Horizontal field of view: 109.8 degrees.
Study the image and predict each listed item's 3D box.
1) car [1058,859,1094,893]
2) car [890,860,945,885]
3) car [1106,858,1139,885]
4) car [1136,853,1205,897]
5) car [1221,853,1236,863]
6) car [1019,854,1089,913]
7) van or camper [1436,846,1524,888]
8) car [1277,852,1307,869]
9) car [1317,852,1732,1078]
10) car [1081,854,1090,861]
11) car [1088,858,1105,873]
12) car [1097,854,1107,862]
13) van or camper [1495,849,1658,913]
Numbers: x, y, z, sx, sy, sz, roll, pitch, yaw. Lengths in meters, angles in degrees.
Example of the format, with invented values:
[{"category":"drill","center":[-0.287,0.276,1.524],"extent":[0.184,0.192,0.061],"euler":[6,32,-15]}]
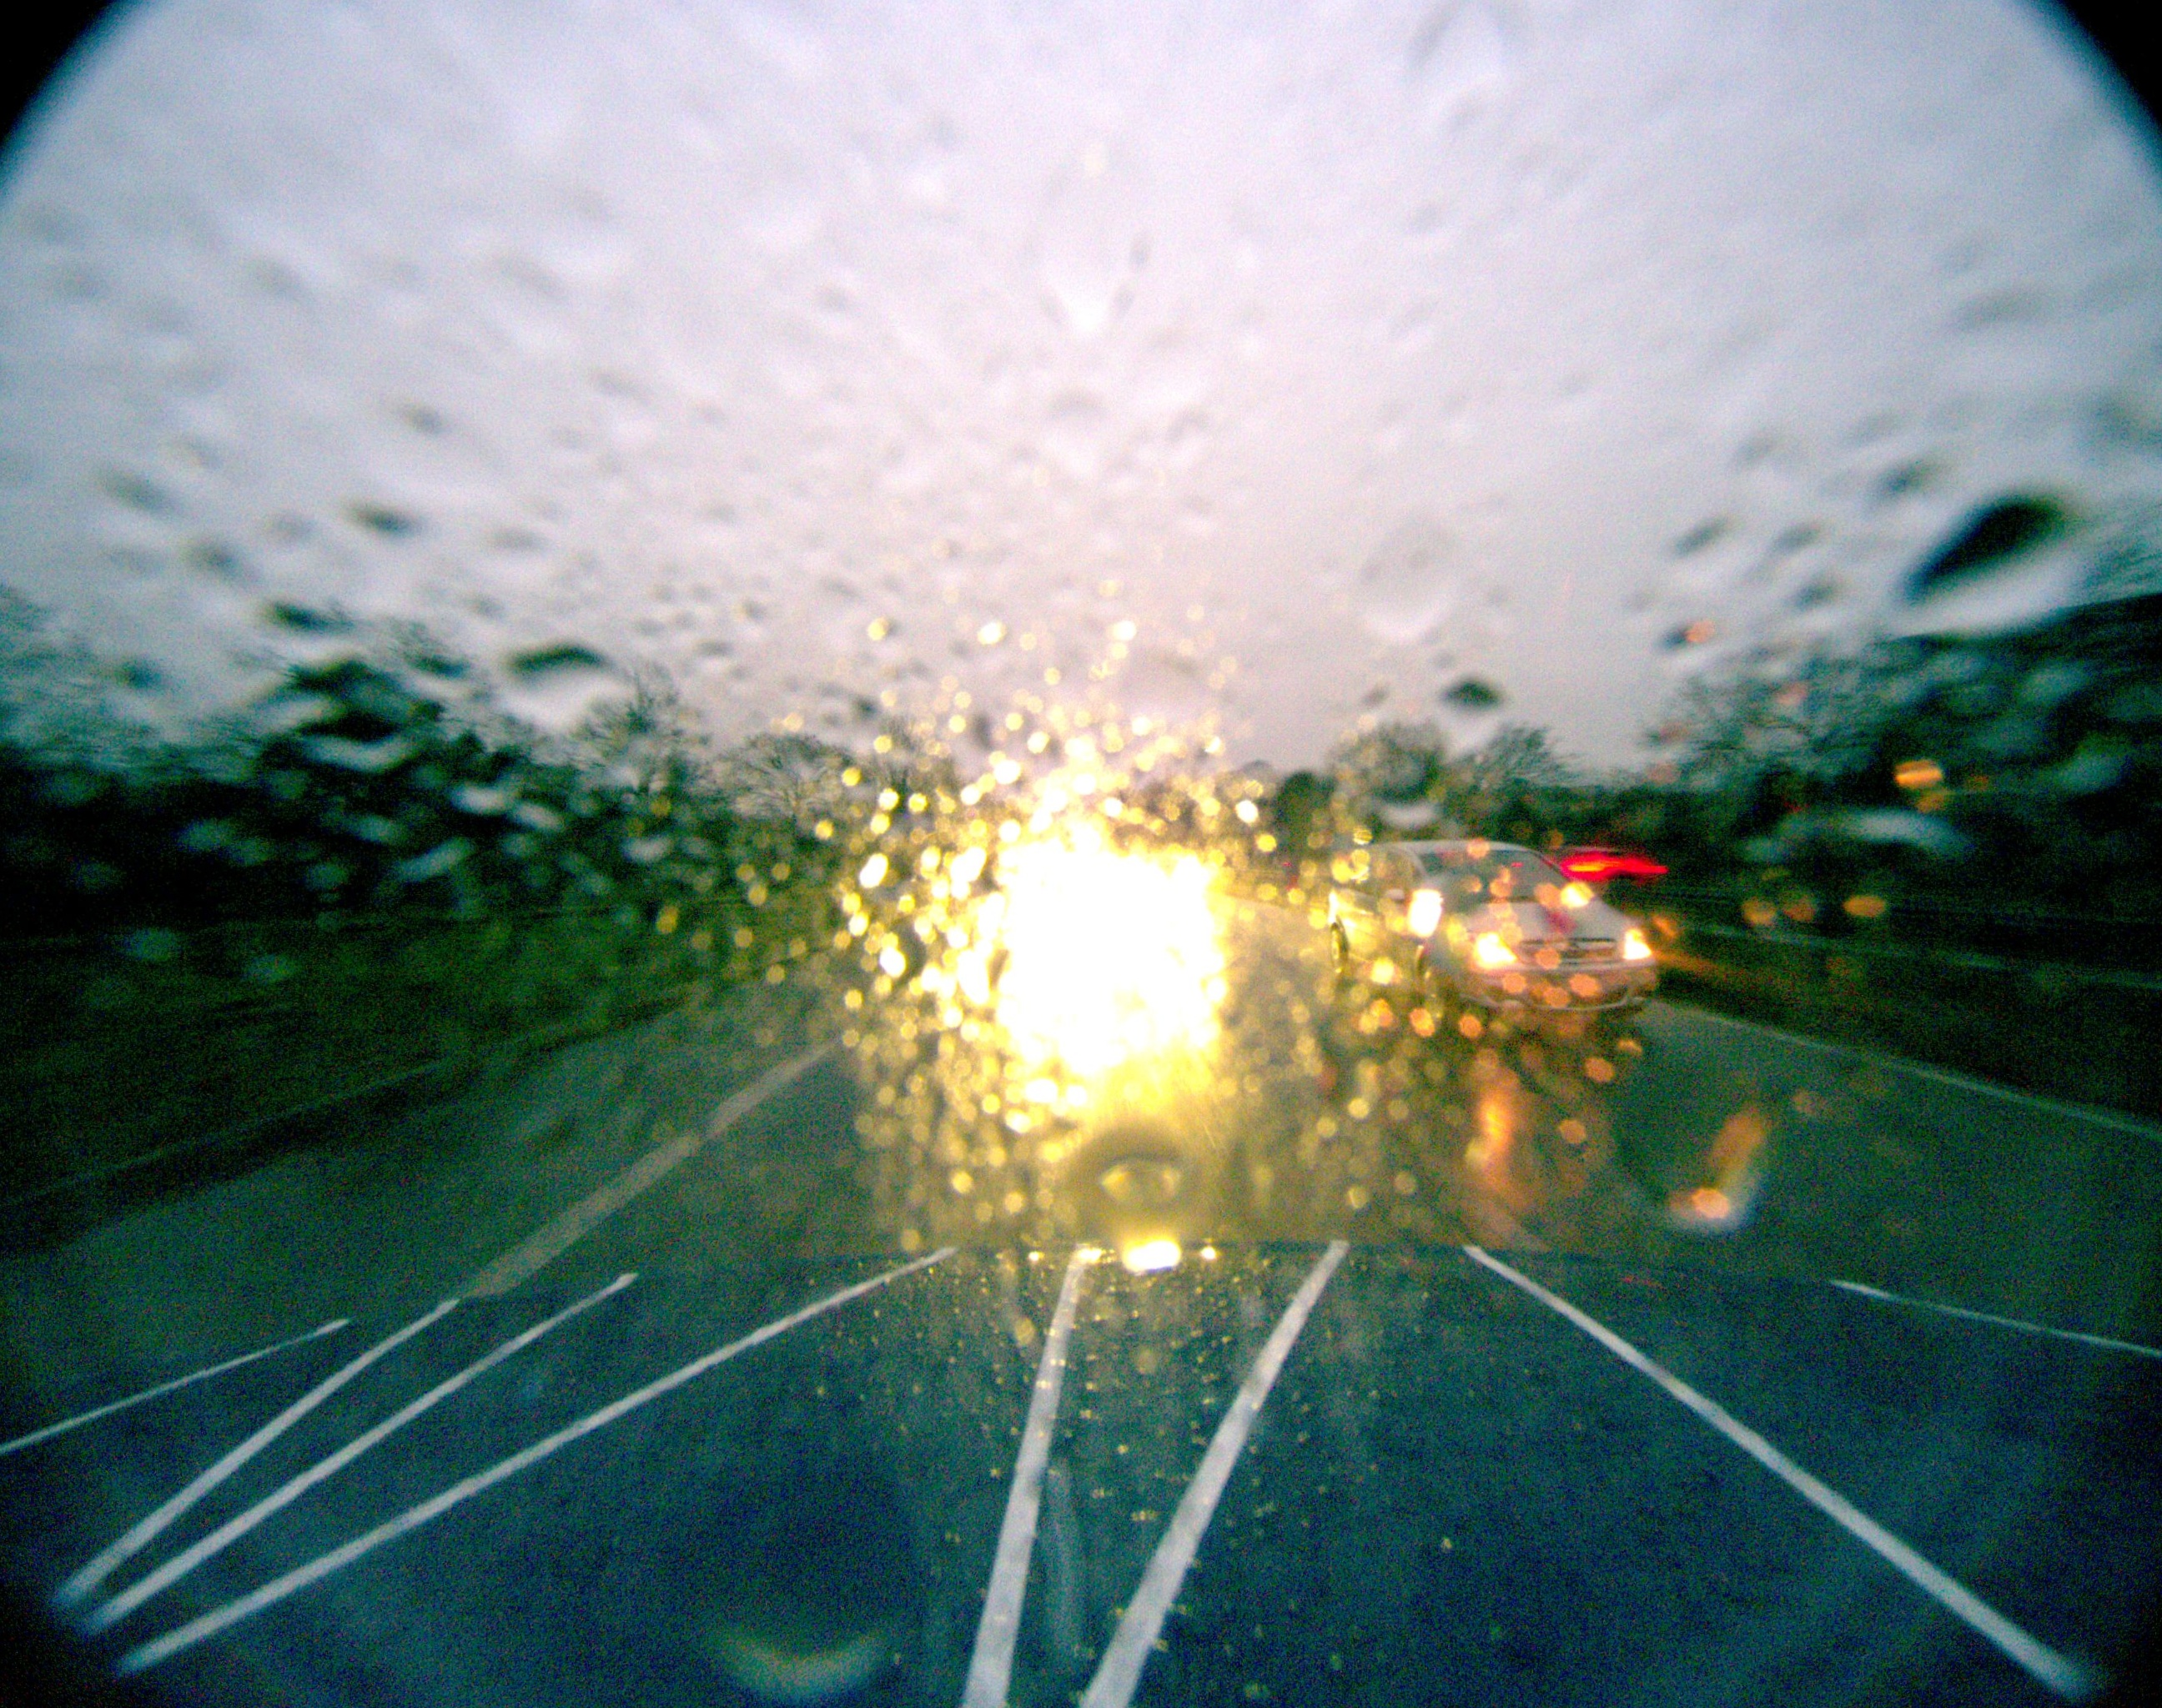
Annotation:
[{"category":"car","center":[-0.204,1.095,39.201],"extent":[1.728,1.573,3.790],"euler":[-1,1,1]},{"category":"car","center":[-10.679,1.192,49.851],"extent":[1.725,1.426,3.796],"euler":[-1,1,21]},{"category":"car","center":[2.320,0.983,43.332],"extent":[1.697,1.327,3.999],"euler":[-2,1,1]},{"category":"car","center":[3.372,0.760,29.376],"extent":[2.027,1.521,4.144],"euler":[-1,1,-2]},{"category":"car","center":[25.273,0.724,130.664],"extent":[1.788,1.599,4.682],"euler":[-1,1,2]},{"category":"car","center":[-0.720,0.807,22.750],"extent":[1.830,1.524,4.000],"euler":[-1,1,1]},{"category":"van or camper","center":[17.980,0.559,34.518],"extent":[1.765,1.725,4.885],"euler":[-1,0,5]},{"category":"car","center":[20.034,0.601,72.279],"extent":[1.788,1.524,4.052],"euler":[-1,1,1]},{"category":"car","center":[3.887,0.807,7.627],"extent":[1.766,1.590,4.164],"euler":[-1,1,1]},{"category":"car","center":[1.140,0.923,180.189],"extent":[1.998,1.605,4.000],"euler":[-1,0,0]},{"category":"car","center":[1.729,1.289,86.724],"extent":[1.852,1.610,3.951],"euler":[-2,1,0]},{"category":"car","center":[4.518,0.851,160.939],"extent":[1.998,1.605,4.000],"euler":[-1,0,0]},{"category":"van or camper","center":[13.147,0.632,20.522],"extent":[1.530,1.473,4.433],"euler":[-2,1,1]}]
